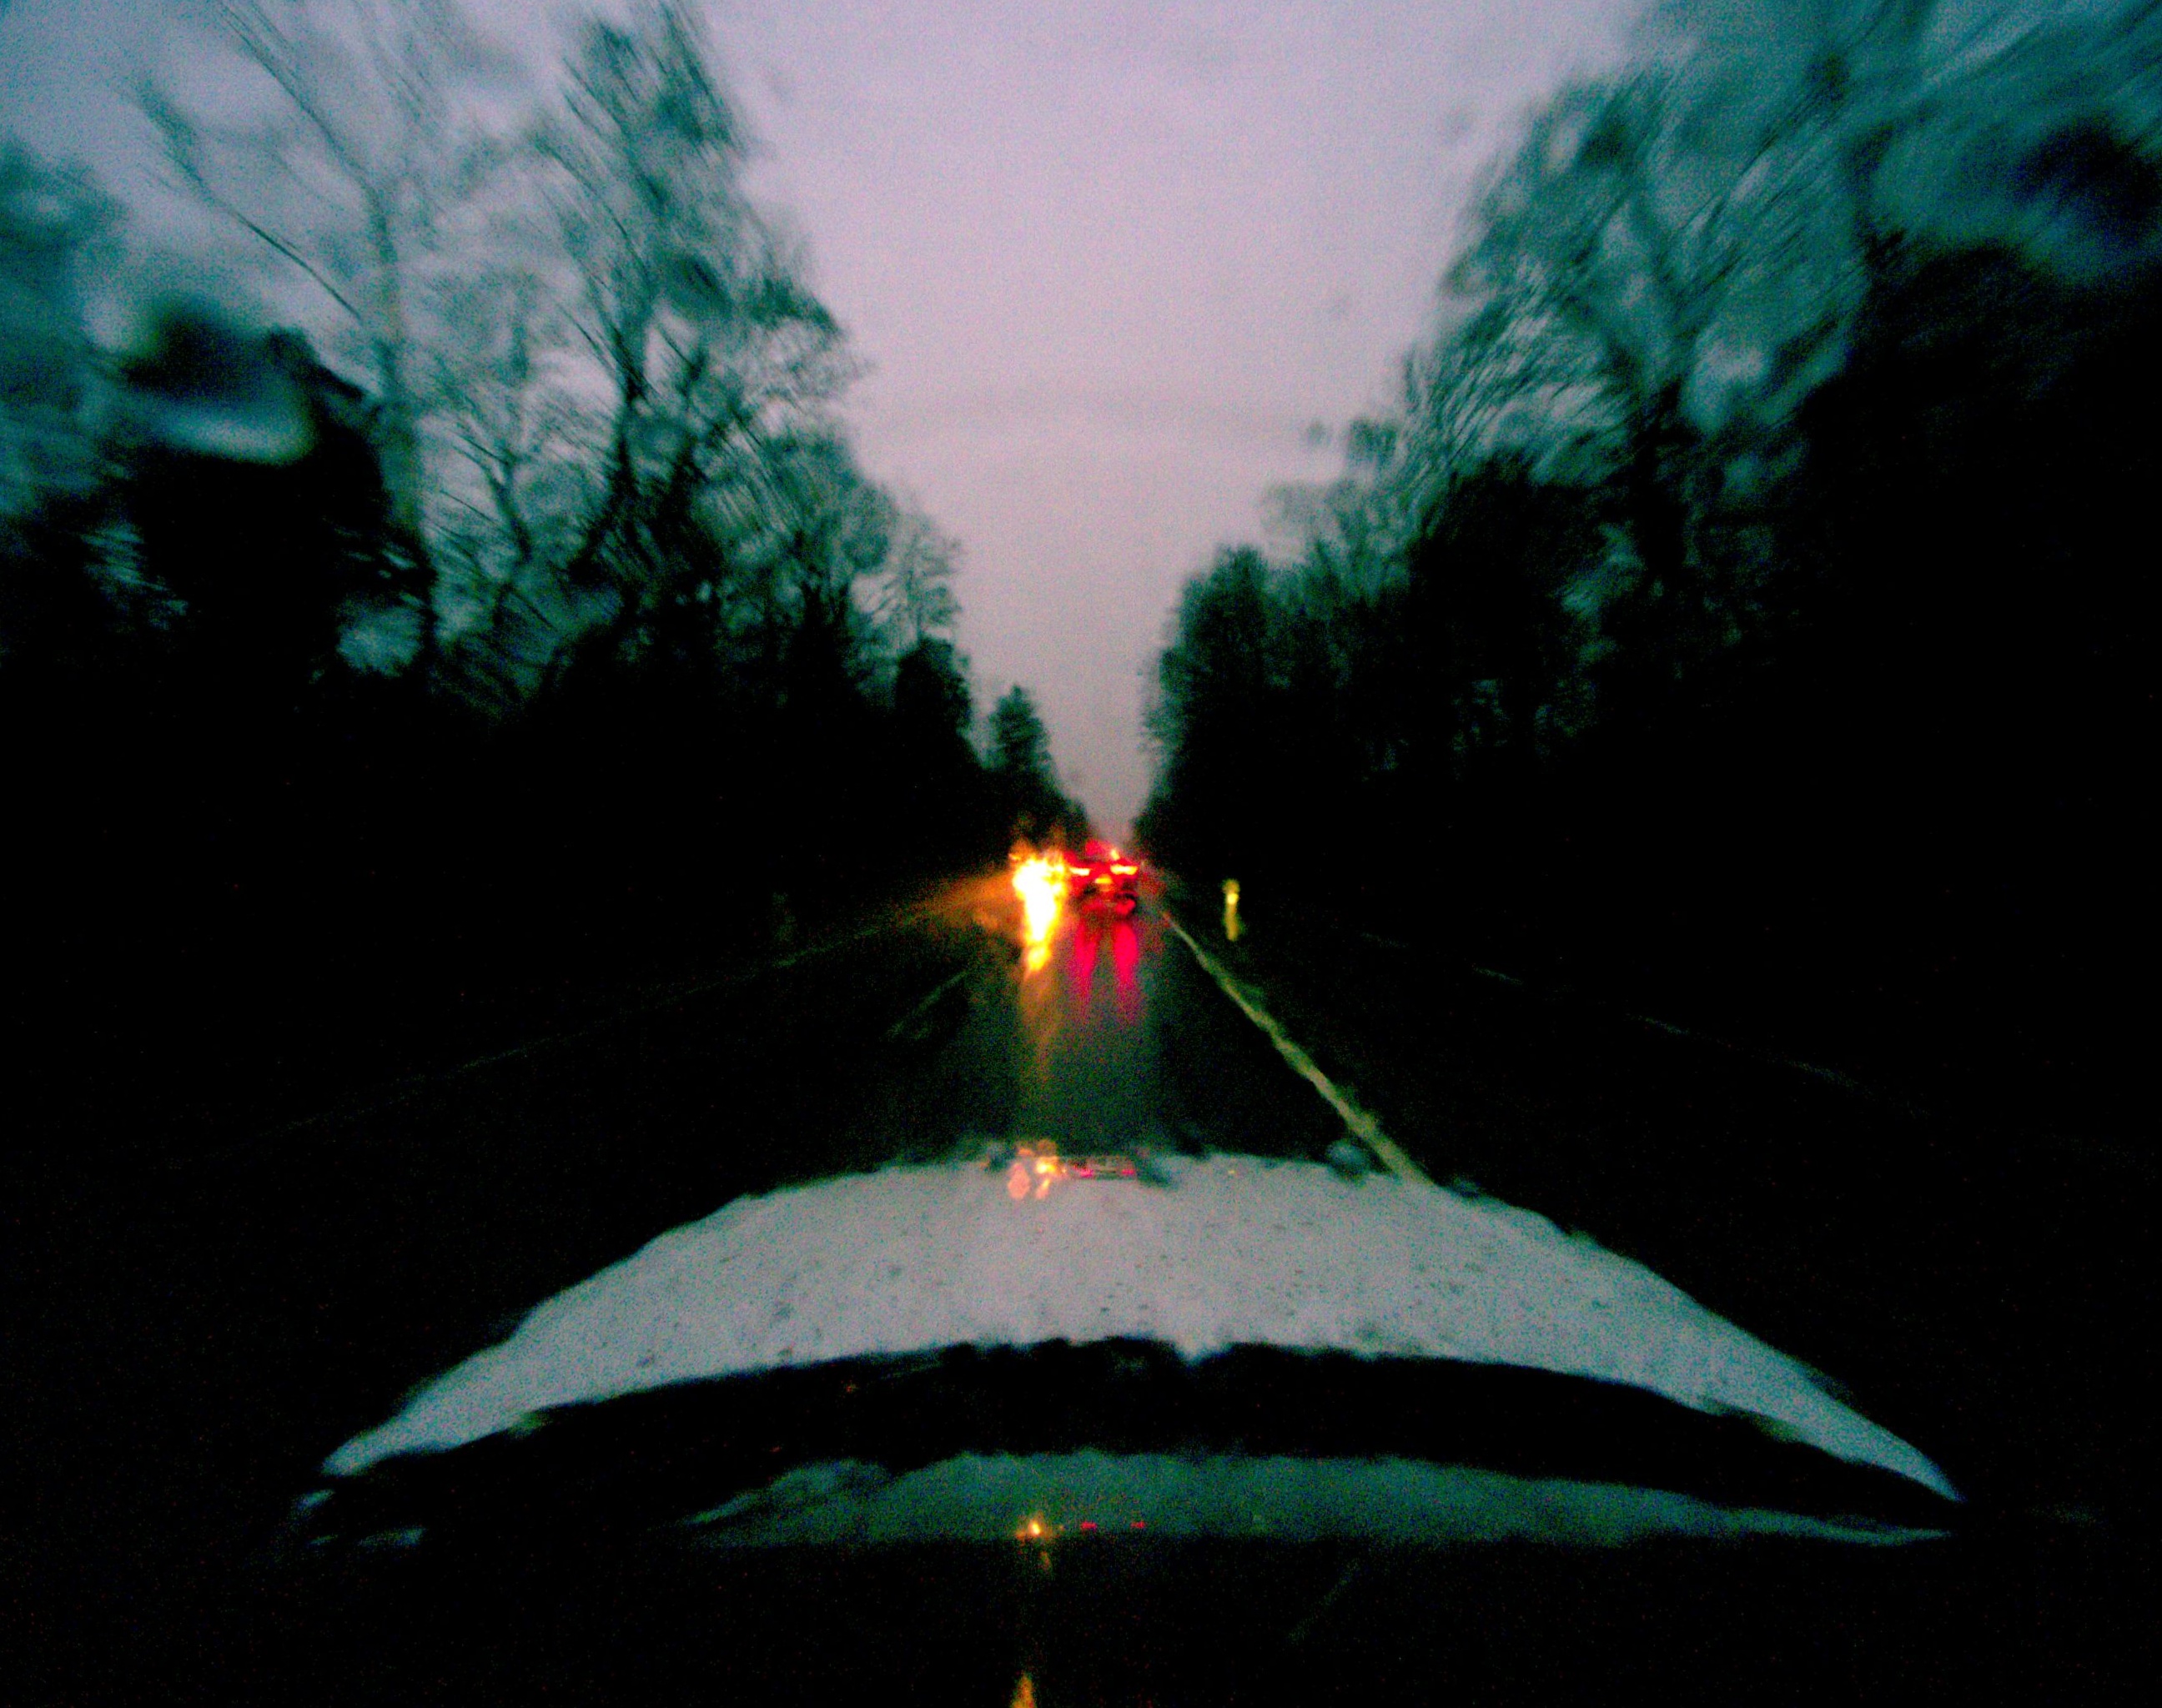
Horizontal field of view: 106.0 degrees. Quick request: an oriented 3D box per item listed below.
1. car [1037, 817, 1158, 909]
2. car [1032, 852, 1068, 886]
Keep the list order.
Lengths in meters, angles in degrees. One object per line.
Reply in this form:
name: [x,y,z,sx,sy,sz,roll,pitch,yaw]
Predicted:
car: [0.580,0.239,24.897,3.171,2.386,6.640,-1,0,2]
car: [-1.846,0.861,49.279,1.790,1.881,4.427,-3,0,2]
